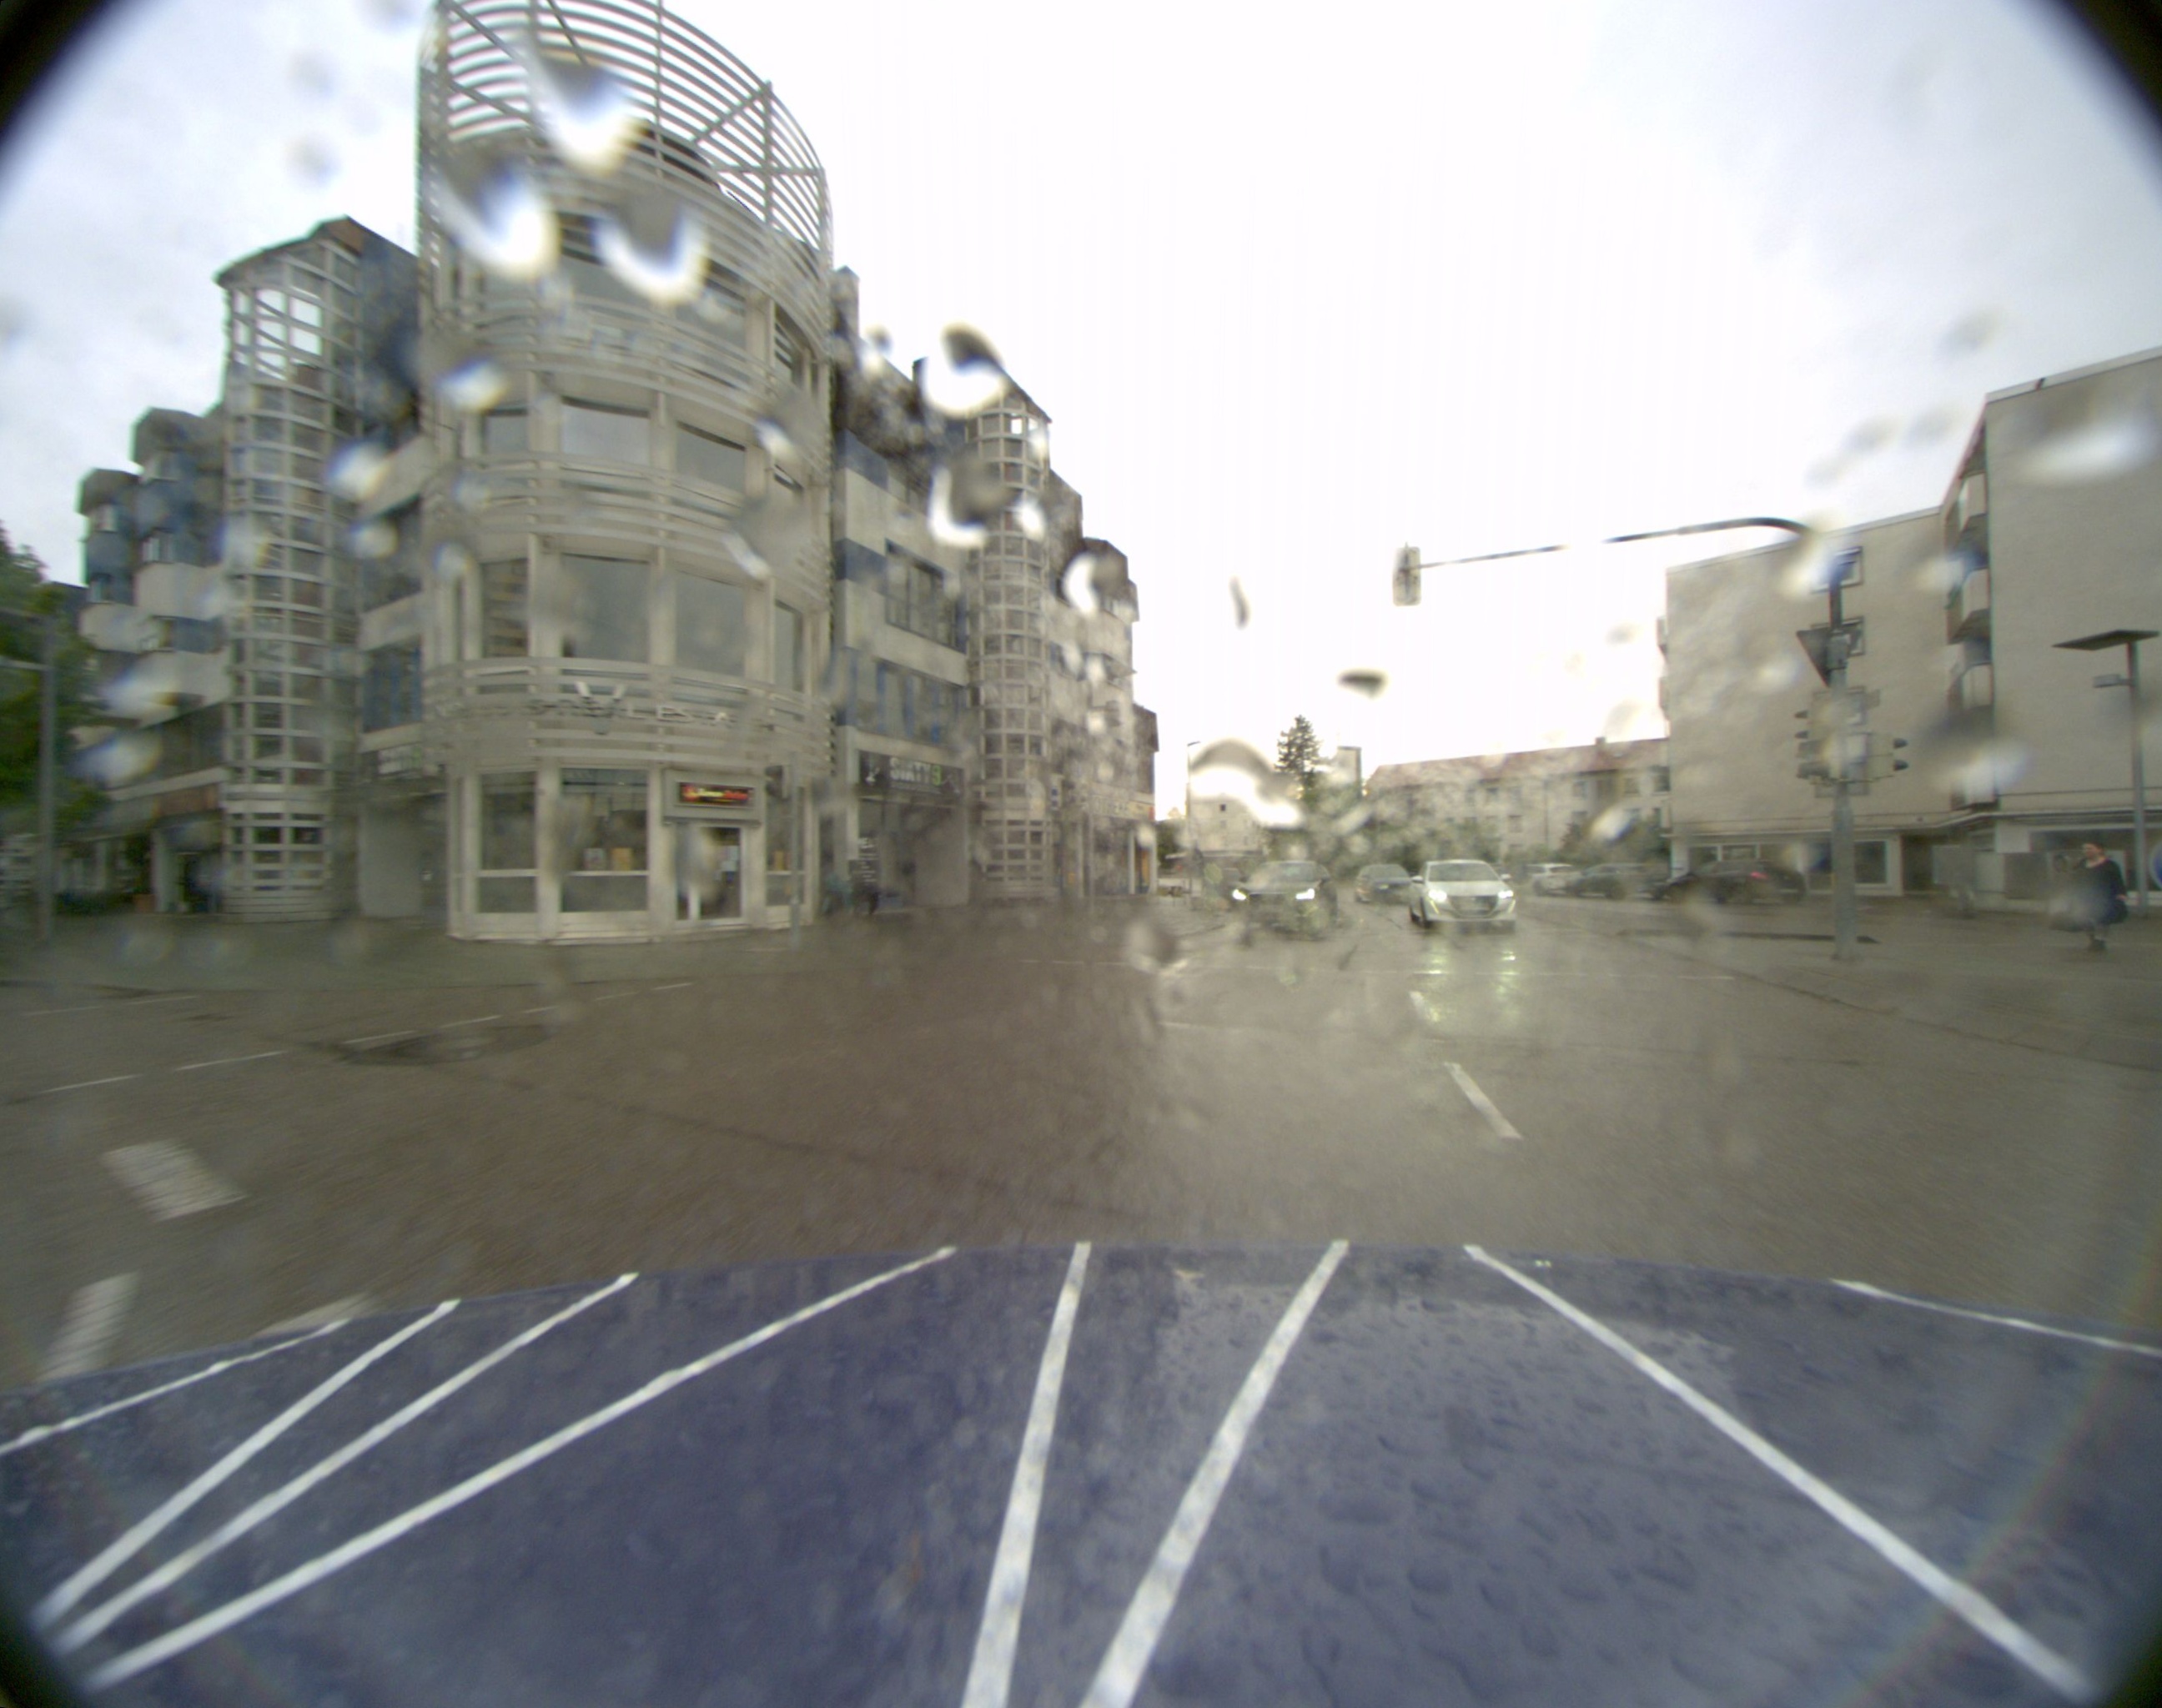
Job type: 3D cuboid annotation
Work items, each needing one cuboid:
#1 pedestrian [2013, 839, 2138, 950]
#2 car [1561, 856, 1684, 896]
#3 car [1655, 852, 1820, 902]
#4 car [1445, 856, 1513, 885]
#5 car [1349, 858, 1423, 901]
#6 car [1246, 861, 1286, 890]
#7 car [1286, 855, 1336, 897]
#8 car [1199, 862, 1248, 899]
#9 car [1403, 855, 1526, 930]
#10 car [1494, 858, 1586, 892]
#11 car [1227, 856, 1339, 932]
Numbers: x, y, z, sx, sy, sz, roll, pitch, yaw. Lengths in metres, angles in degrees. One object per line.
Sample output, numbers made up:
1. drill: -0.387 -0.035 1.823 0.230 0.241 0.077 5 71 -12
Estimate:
1. pedestrian: 14.665 0.583 11.235 0.657 1.576 0.914 -1 0 4
2. car: 21.859 0.847 30.901 1.836 1.425 4.274 -2 0 -2
3. car: 21.874 0.731 25.587 1.836 1.451 4.188 -2 0 -1
4. car: 21.755 0.862 41.677 1.633 1.496 3.881 -1 0 -1
5. car: 11.298 0.899 28.386 1.749 1.446 3.816 -1 0 9
6. car: 9.636 1.102 39.745 1.799 1.360 3.977 -1 0 11
7. car: 8.932 0.862 29.710 1.731 1.519 4.069 -1 -1 15
8. car: 5.642 1.024 30.416 1.653 1.364 3.734 1 -1 7
9. car: 8.183 0.781 16.553 1.741 1.401 3.902 -3 -2 18
10. car: 21.750 0.948 36.209 1.637 1.491 4.346 -1 0 -1
11. car: 4.663 0.823 17.118 1.731 1.435 4.053 -2 0 25
